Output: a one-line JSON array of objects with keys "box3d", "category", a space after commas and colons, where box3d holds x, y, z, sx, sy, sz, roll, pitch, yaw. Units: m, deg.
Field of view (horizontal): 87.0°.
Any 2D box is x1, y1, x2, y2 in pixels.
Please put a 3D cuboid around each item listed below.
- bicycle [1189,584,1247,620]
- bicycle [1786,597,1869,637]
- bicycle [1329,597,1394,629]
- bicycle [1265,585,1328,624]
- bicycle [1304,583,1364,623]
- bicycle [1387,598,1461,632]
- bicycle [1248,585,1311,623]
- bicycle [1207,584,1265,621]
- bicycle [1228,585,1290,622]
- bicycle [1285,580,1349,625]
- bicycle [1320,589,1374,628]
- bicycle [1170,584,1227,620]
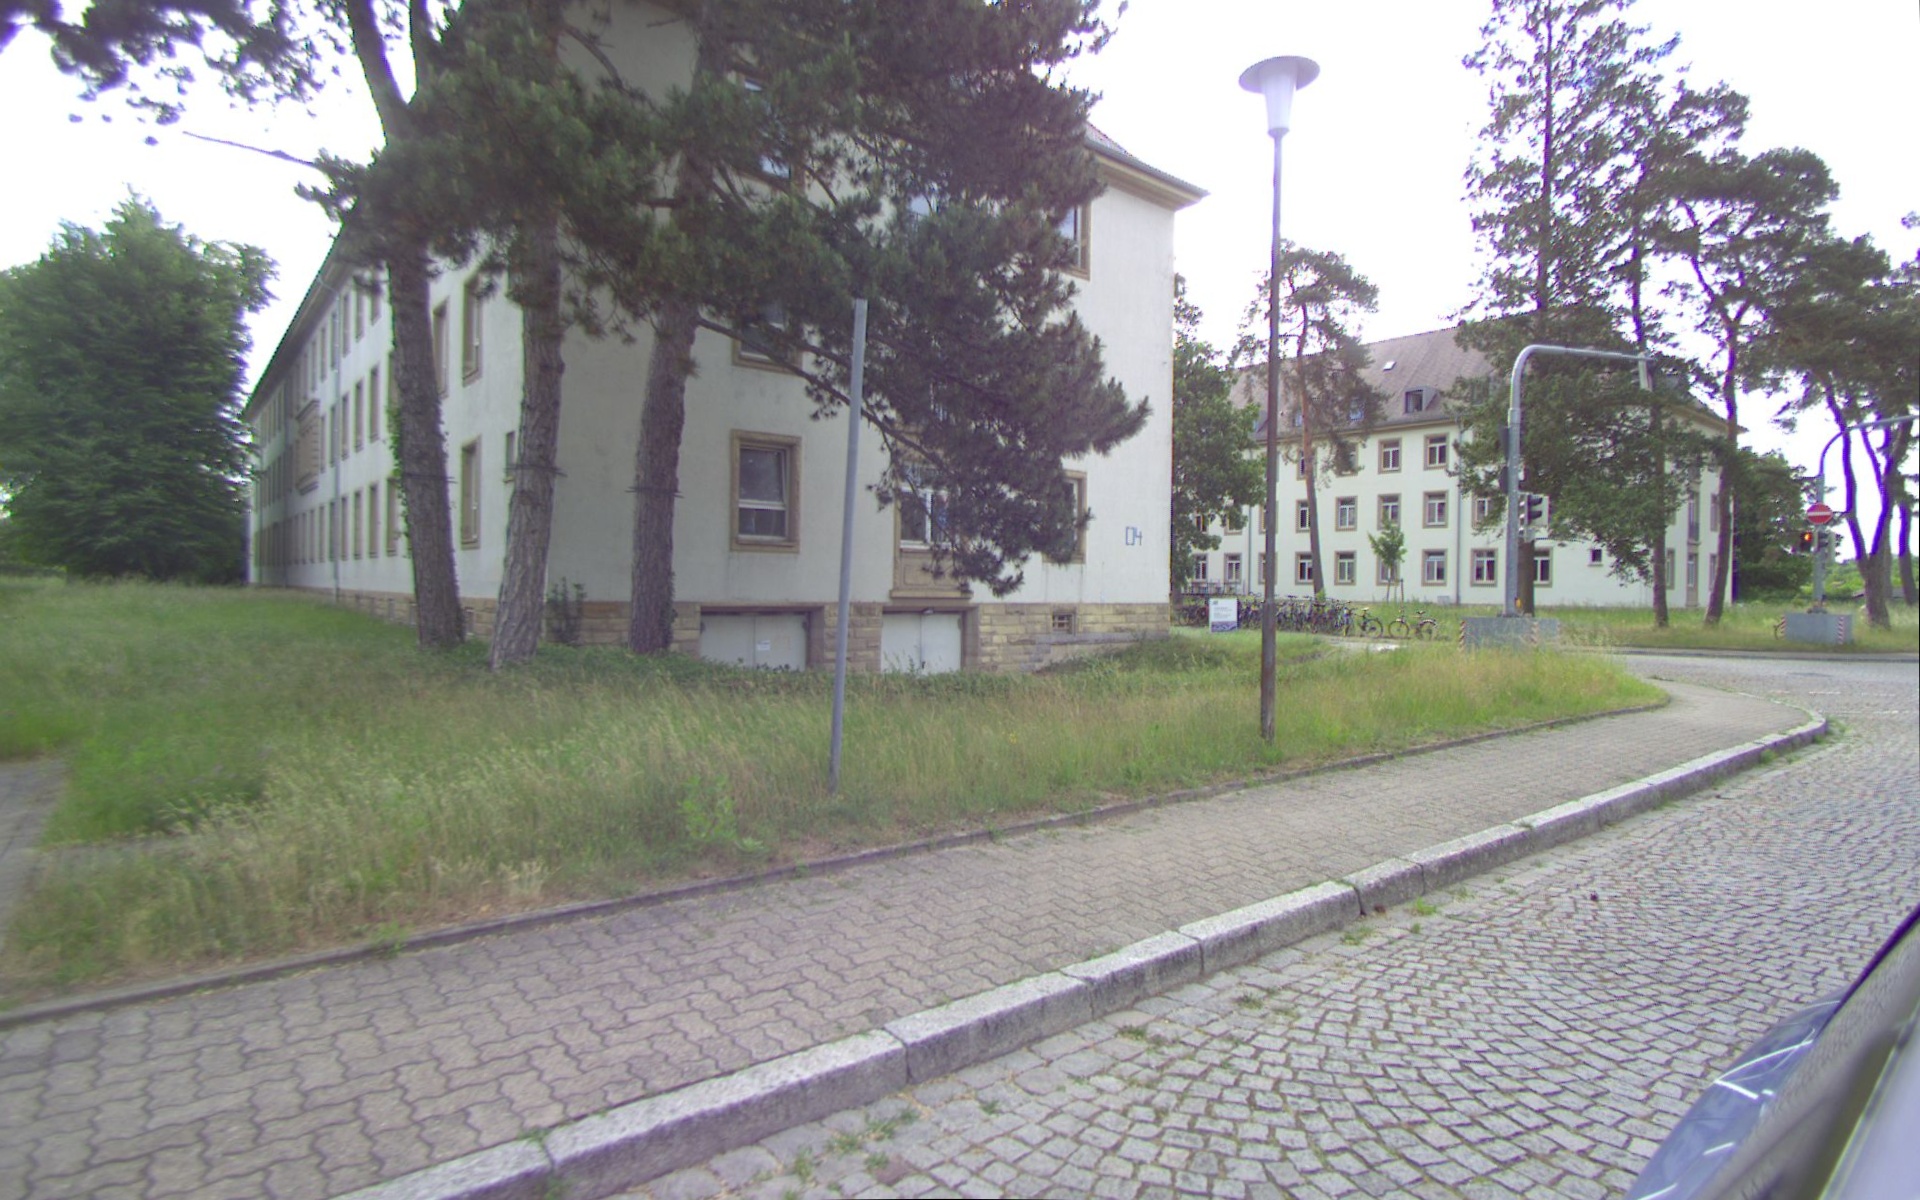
[{"box3d": [10.313, 0.081, 40.403, 2.531, 1.389, 0.949, 0, 1, -41], "category": "bicycle"}, {"box3d": [26.048, 0.494, 30.414, 0.636, 1.075, 1.830, -5, 4, -42], "category": "bicycle"}, {"box3d": [13.500, 0.430, 34.063, 0.716, 1.009, 1.979, 0, 1, -35], "category": "bicycle"}, {"box3d": [12.737, 0.160, 38.219, 2.762, 1.389, 0.949, 0, 1, -40], "category": "bicycle"}, {"box3d": [13.509, 0.105, 36.523, 2.581, 1.384, 0.873, 0, 1, -40], "category": "bicycle"}, {"box3d": [14.873, 0.456, 32.486, 0.887, 1.009, 1.976, 0, 1, -40], "category": "bicycle"}, {"box3d": [12.153, 0.147, 38.429, 2.762, 1.389, 0.949, 0, 1, -40], "category": "bicycle"}, {"box3d": [10.851, 0.092, 39.759, 2.531, 1.389, 0.949, 0, 1, -41], "category": "bicycle"}, {"box3d": [11.568, 0.135, 39.104, 2.762, 1.389, 0.949, 0, 1, -40], "category": "bicycle"}, {"box3d": [13.225, 0.073, 37.416, 2.762, 1.603, 0.949, 0, 1, -40], "category": "bicycle"}, {"box3d": [13.746, 0.287, 35.930, 2.082, 1.323, 0.873, 0, 1, -40], "category": "bicycle"}, {"box3d": [9.661, 0.067, 40.950, 2.531, 1.389, 0.949, 0, 1, -41], "category": "bicycle"}]
